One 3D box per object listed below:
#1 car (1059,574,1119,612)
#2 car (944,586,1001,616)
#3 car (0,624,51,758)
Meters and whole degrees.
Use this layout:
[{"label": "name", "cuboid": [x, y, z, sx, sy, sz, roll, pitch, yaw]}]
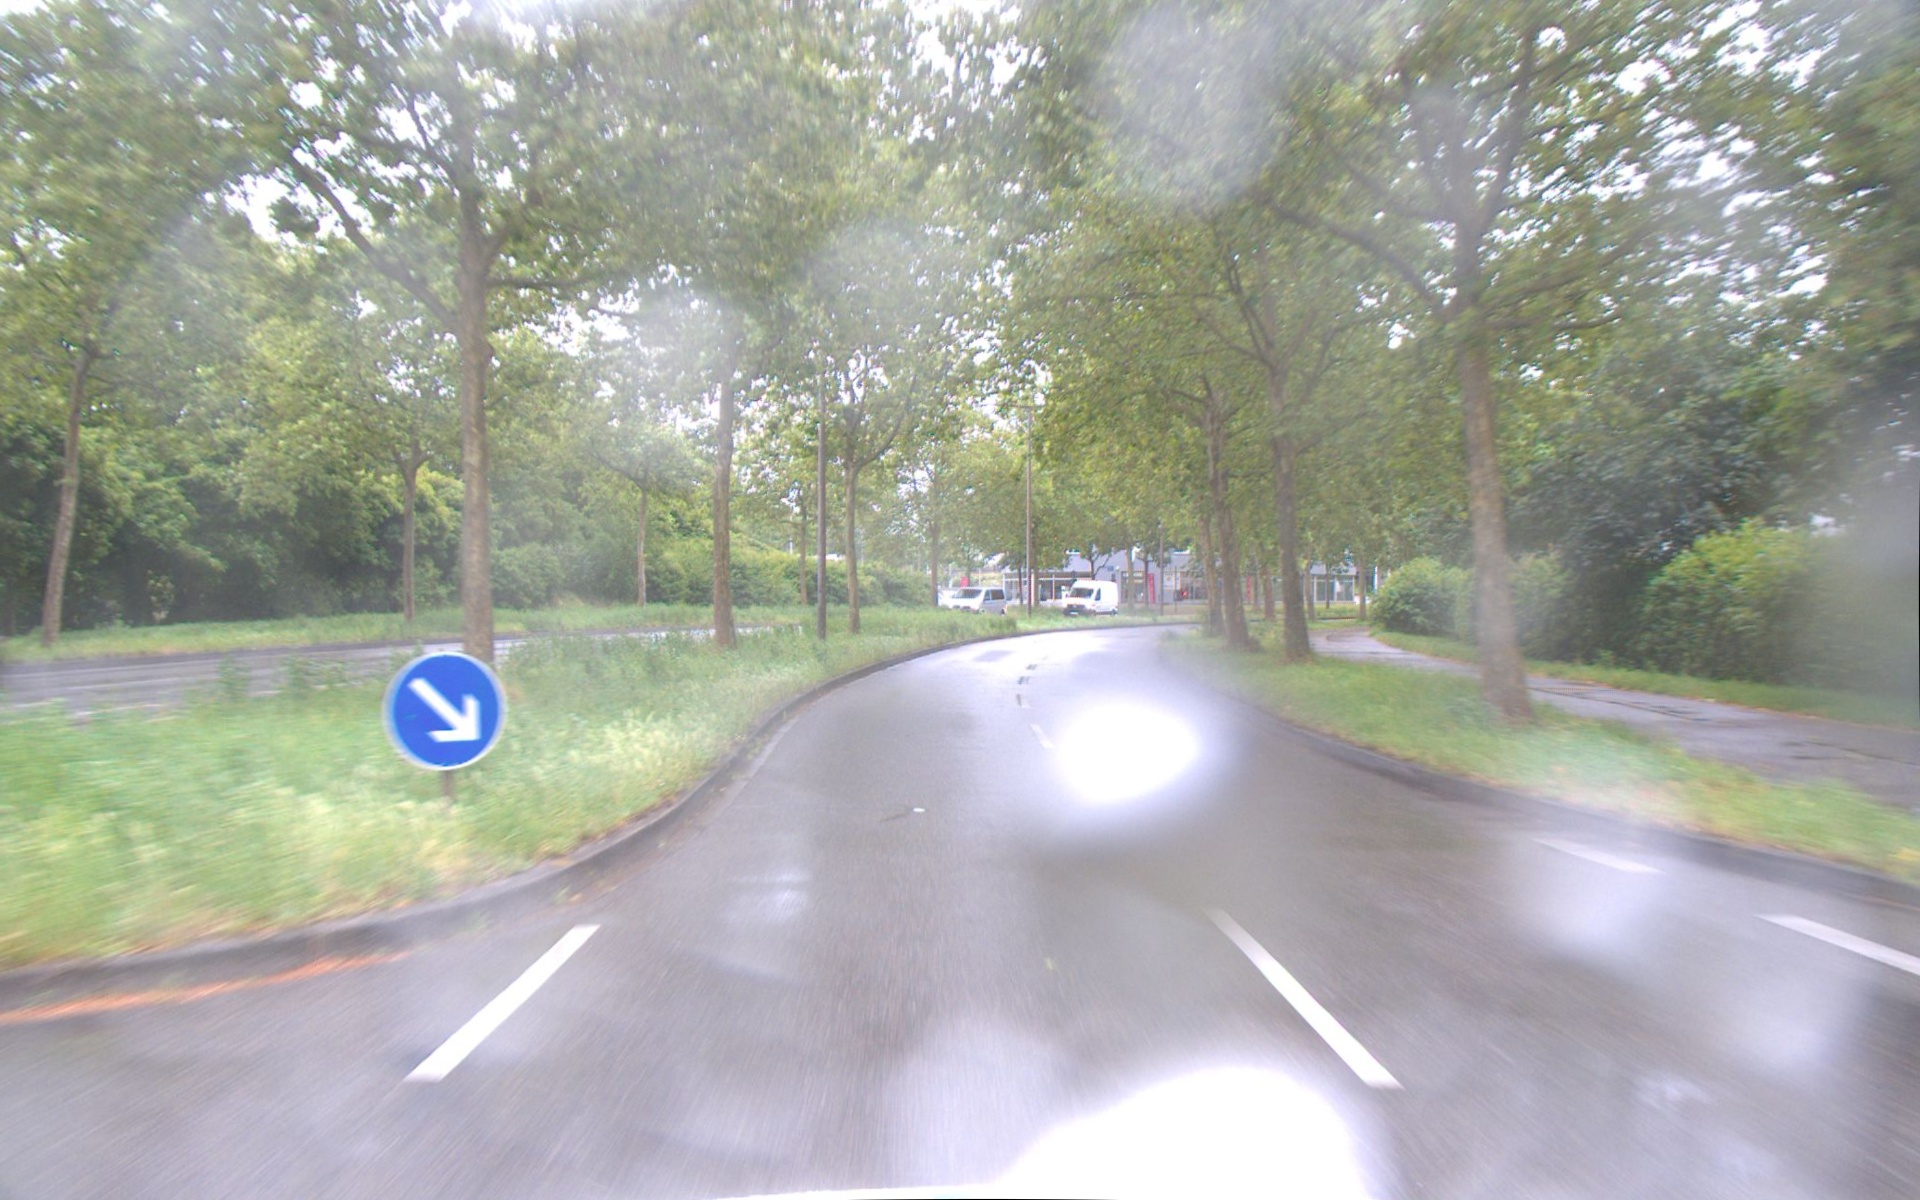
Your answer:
[{"label": "car", "cuboid": [8.323, -0.449, 106.062, 2.235, 2.311, 5.968, 0, 0, 21]}, {"label": "car", "cuboid": [0.714, 0.050, 90.249, 1.930, 1.591, 4.734, 0, 0, 16]}, {"label": "car", "cuboid": [-11.750, 1.027, 16.888, 1.961, 1.477, 4.993, -1, 0, 3]}]
